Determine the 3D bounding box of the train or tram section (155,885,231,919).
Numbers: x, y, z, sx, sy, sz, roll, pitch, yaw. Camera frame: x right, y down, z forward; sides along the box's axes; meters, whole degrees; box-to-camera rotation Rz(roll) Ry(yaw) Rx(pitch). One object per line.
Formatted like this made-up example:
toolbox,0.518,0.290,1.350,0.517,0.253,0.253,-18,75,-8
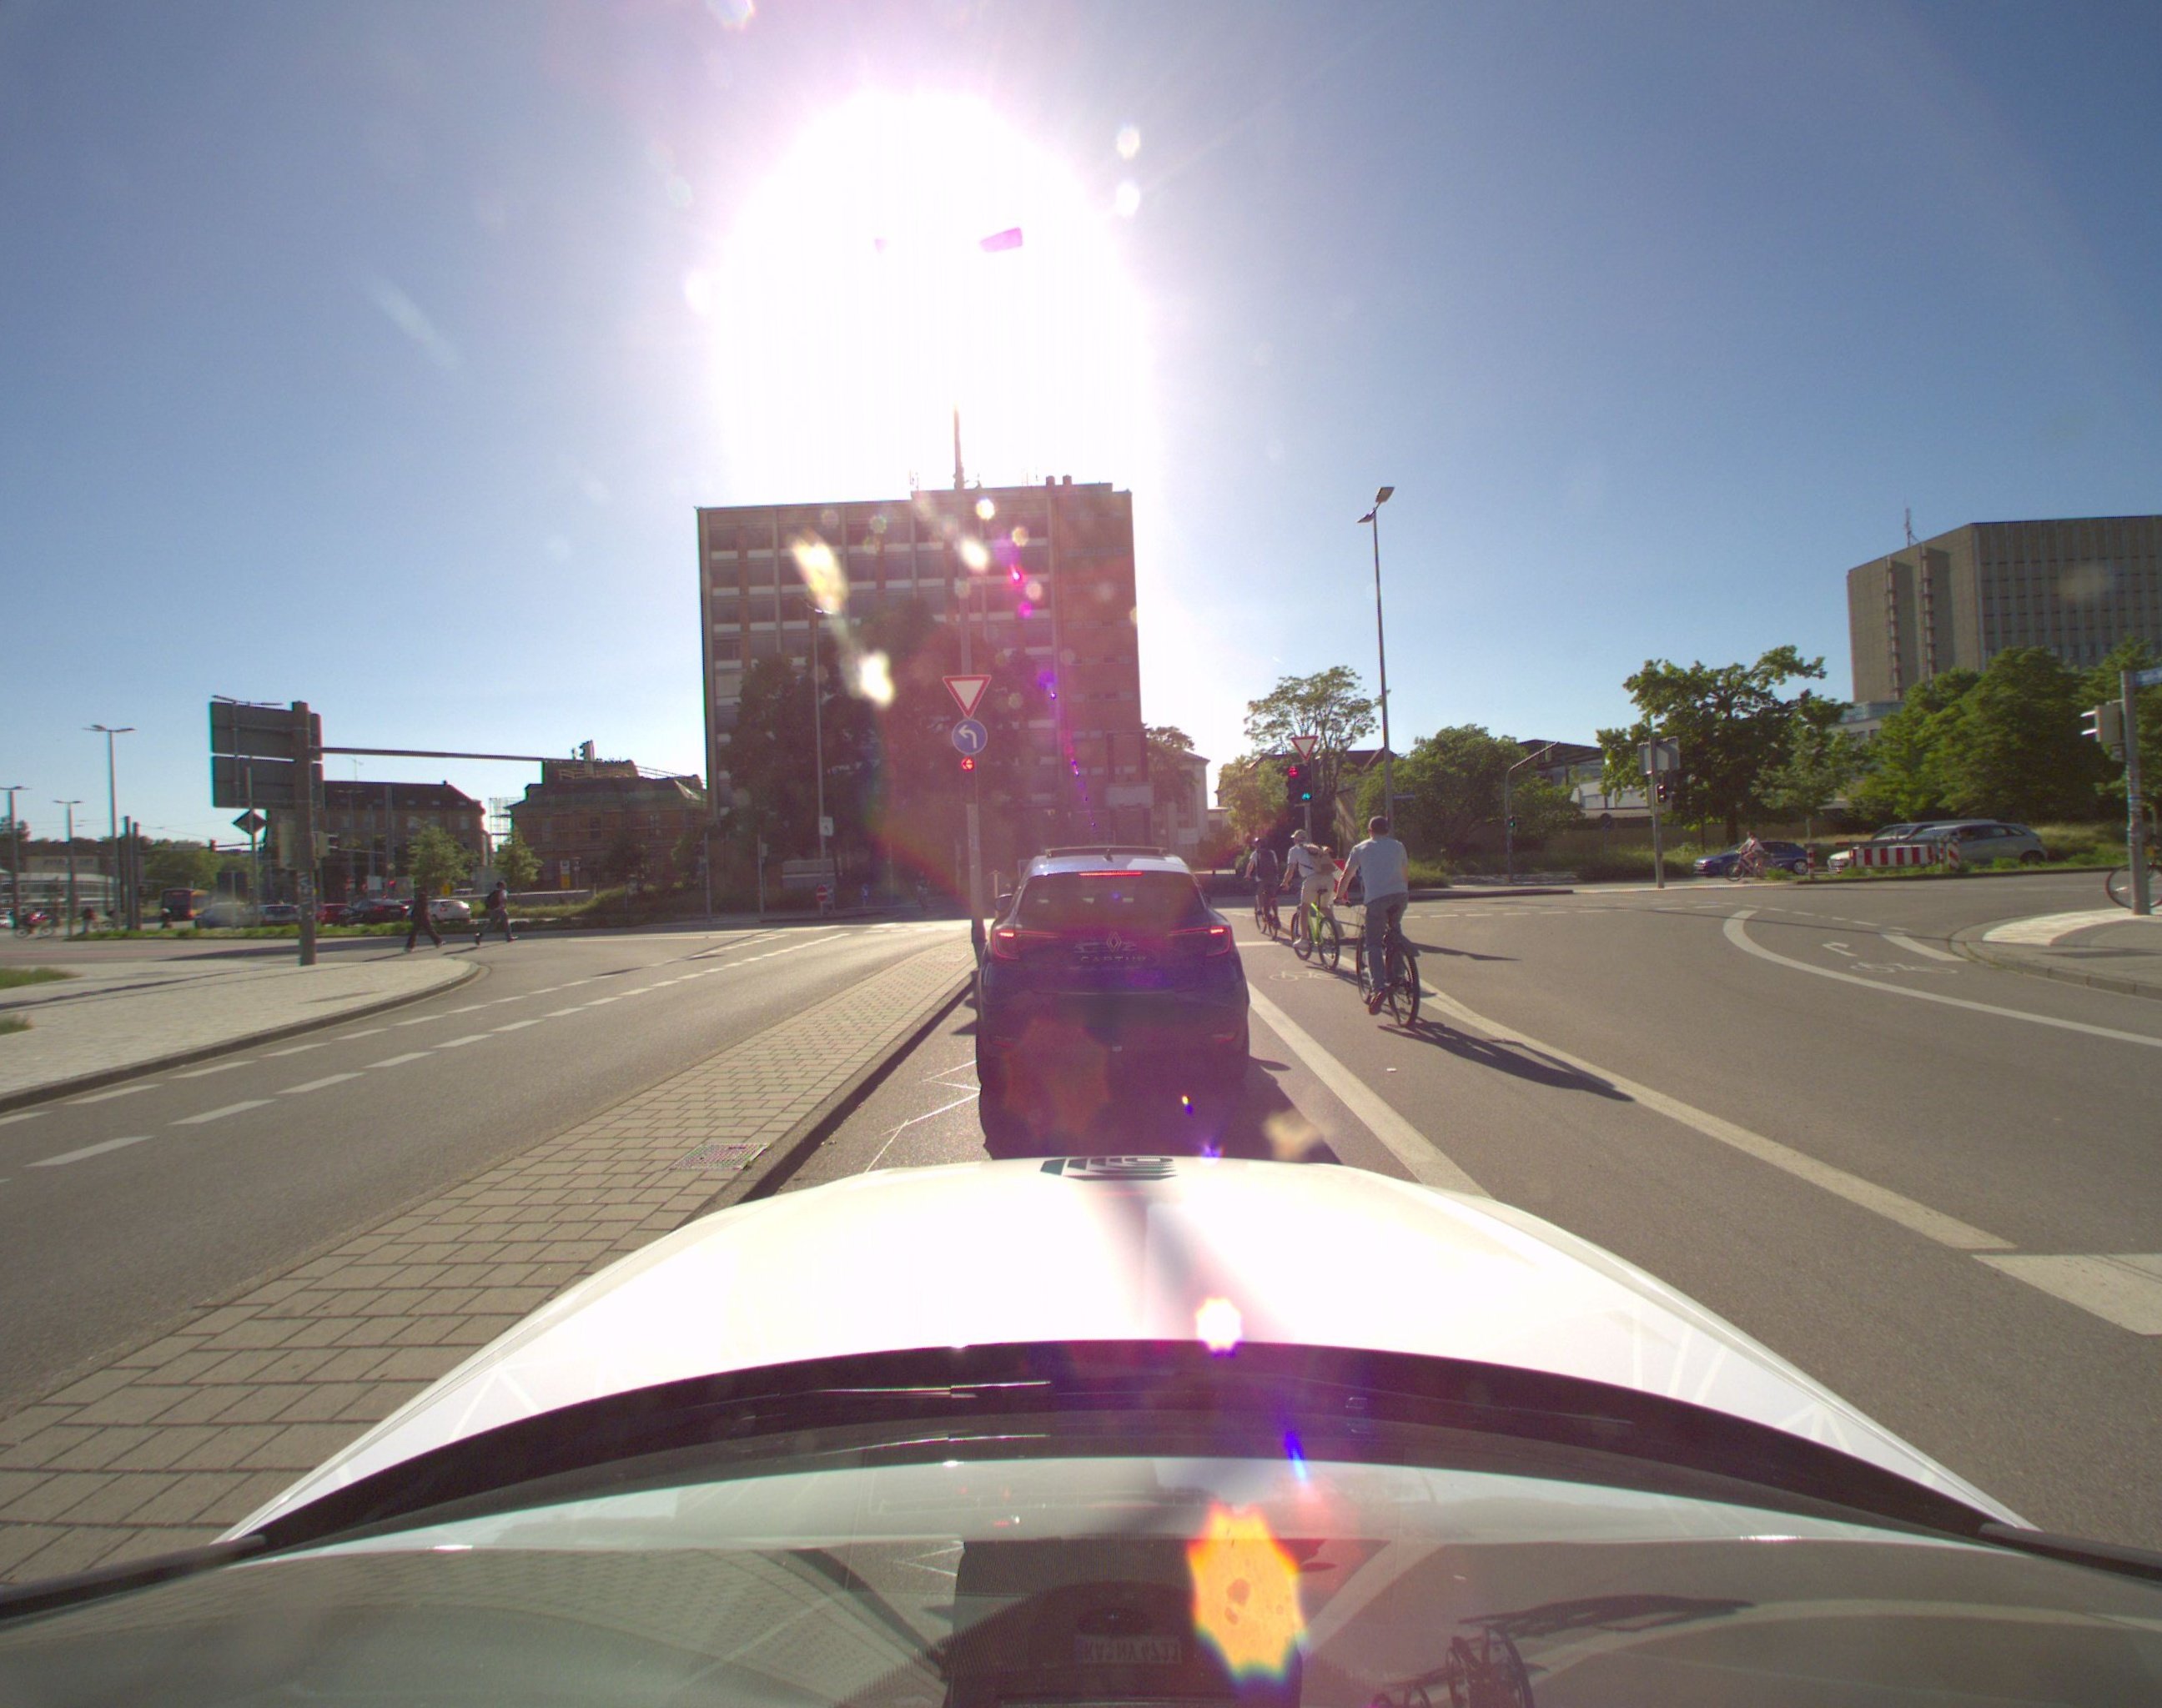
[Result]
train or tram section,-96.333,5.098,88.558,2.710,3.232,10.495,0,-1,-31

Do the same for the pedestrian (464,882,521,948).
pedestrian,-16.398,1.680,22.701,0.647,1.730,1.066,-3,-1,15

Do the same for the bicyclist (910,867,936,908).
bicyclist,-6.917,1.453,35.666,0.751,1.716,1.001,-2,-1,7

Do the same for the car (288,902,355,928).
car,-48.214,3.872,51.707,3.834,1.508,1.805,-3,-1,25

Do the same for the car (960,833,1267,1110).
car,0.194,0.704,6.767,1.783,1.585,3.913,-1,0,0

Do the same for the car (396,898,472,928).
car,-36.401,3.338,45.834,3.834,1.508,1.805,-3,-1,25

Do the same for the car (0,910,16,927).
car,-111.991,6.722,84.039,1.753,1.651,3.952,-2,-1,-42

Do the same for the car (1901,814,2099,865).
car,29.215,-0.433,26.004,3.965,1.398,1.798,-3,-1,7

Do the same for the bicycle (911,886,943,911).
bicycle,-6.820,1.974,36.199,0.751,0.985,2.098,-2,0,8

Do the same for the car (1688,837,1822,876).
car,28.129,0.106,34.109,3.965,1.398,1.798,-3,-1,7

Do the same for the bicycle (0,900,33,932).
bicycle,-73.171,4.201,54.057,4.019,2.013,1.977,-2,-1,-37

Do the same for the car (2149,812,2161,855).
car,36.896,-0.763,25.334,4.534,1.398,1.798,-3,-1,7

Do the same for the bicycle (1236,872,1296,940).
bicycle,3.313,0.903,14.757,0.687,1.089,1.923,-1,0,2

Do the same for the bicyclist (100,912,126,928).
bicyclist,-75.742,5.151,63.716,0.887,1.166,0.971,-3,-1,13

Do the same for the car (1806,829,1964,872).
car,30.291,-0.136,30.795,3.965,1.398,1.798,-3,-1,7

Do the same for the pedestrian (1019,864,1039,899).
pedestrian,-2.870,1.531,45.176,0.807,1.862,0.913,-3,-1,15

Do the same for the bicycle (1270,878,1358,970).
bicycle,3.127,0.897,11.119,0.687,1.089,1.923,-1,0,2

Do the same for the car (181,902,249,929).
car,-54.920,3.894,51.634,3.834,1.508,1.805,-3,-1,25

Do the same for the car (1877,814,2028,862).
car,35.865,-0.618,33.610,3.965,1.749,1.798,-3,-1,7

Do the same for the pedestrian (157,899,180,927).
pedestrian,-62.385,4.024,55.675,0.722,1.865,0.884,-3,-1,27

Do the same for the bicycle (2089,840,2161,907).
bicycle,15.910,0.268,11.628,0.640,0.958,1.866,-2,-1,-39

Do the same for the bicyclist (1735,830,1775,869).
bicyclist,24.030,-0.159,29.053,0.870,1.343,0.612,-2,-1,7

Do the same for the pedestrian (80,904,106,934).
pedestrian,-64.467,4.255,53.135,0.723,1.865,0.883,-3,-1,22

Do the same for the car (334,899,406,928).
car,-42.557,3.565,48.738,3.834,1.508,1.805,-3,-1,25

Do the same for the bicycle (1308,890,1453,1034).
bicycle,2.728,0.927,7.645,0.687,1.089,1.923,-1,0,2

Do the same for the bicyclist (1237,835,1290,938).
bicyclist,3.302,0.566,14.815,0.697,1.791,1.142,-1,-1,2

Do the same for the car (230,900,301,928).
car,-48.871,3.606,48.803,3.834,1.508,1.805,-3,-1,25

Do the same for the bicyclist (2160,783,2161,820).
bicyclist,16.022,-0.226,11.475,0.635,1.646,0.903,-2,-1,-39

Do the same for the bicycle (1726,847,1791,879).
bicycle,24.134,0.322,29.038,1.673,1.033,0.612,-2,-1,7

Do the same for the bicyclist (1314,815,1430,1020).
bicyclist,2.721,0.561,7.734,0.680,1.791,1.142,-1,-1,2

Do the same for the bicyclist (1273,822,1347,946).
bicyclist,3.118,0.396,11.187,0.676,1.594,1.142,-1,-1,1

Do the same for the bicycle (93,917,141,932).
bicycle,-75.678,5.528,63.942,0.887,0.883,2.250,-3,0,13

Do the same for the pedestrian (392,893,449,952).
pedestrian,-18.187,1.881,22.450,0.647,1.527,0.984,-3,-1,15
